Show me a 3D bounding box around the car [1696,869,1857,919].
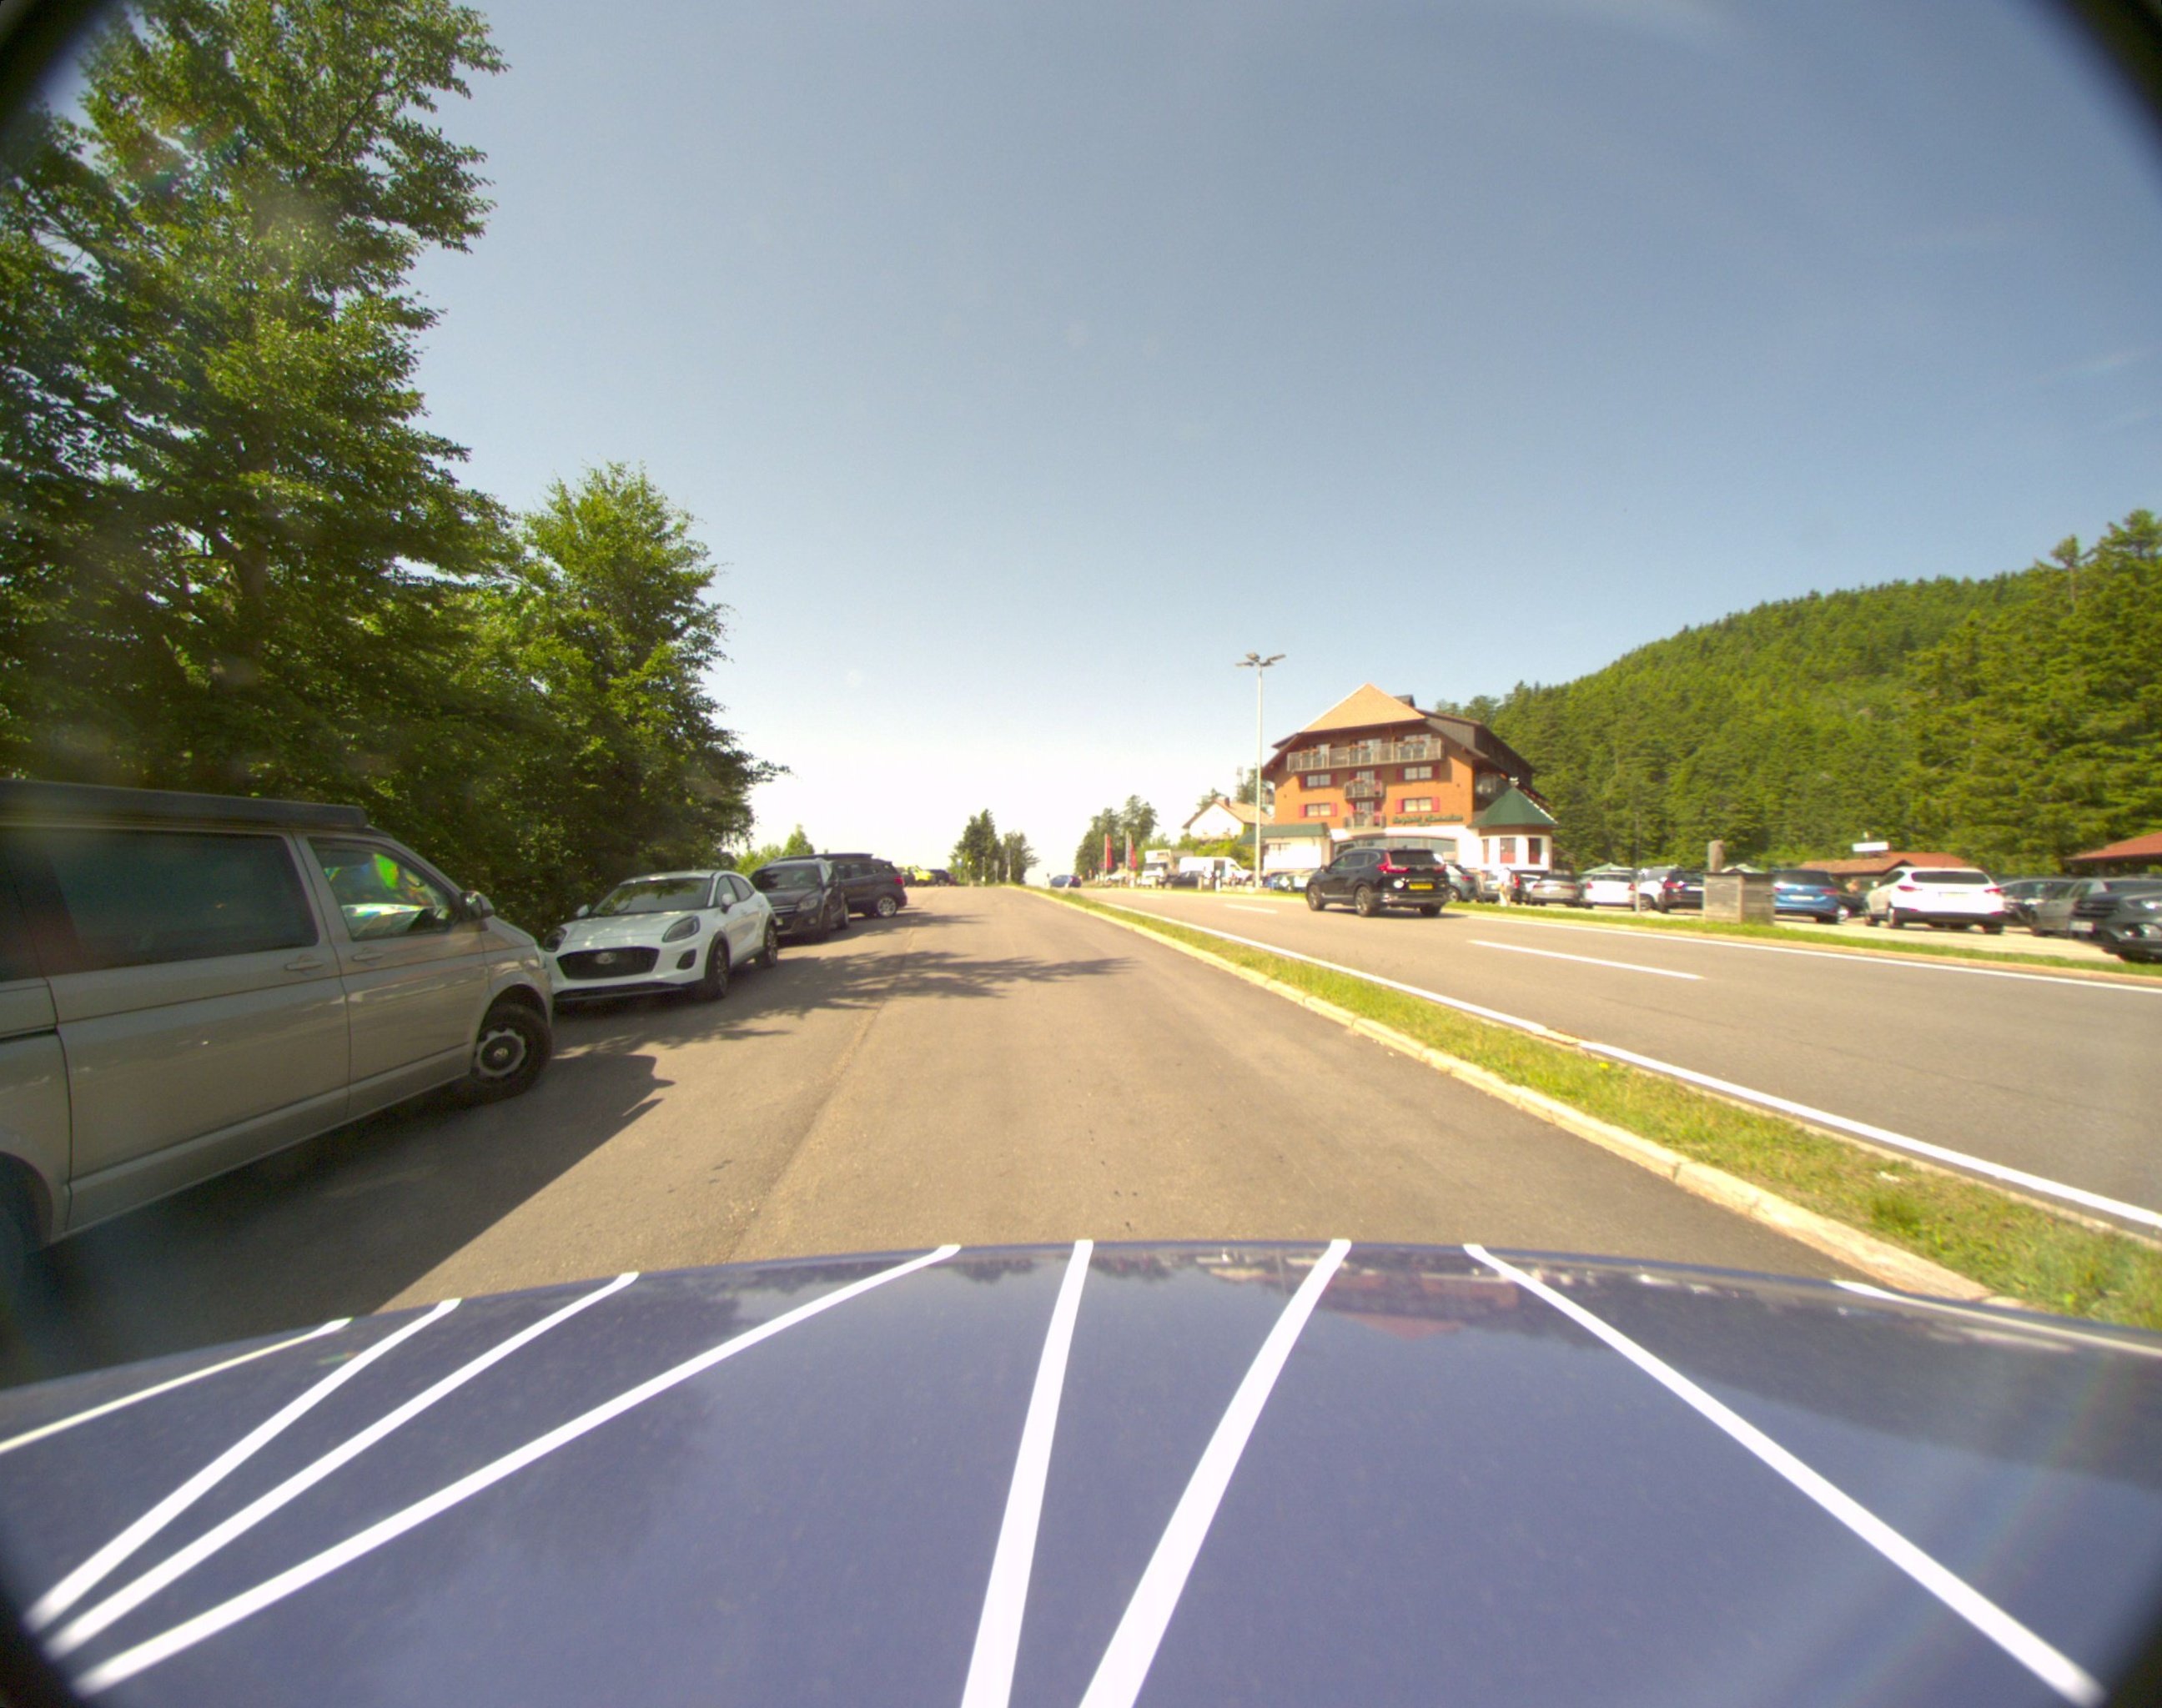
[{"bbox_3d":[25.008,1.381,27.546,4.083,1.619,1.828,0,0,34],"label":"car"}]

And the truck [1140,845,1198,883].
[{"bbox_3d":[9.505,1.111,80.997,2.877,3.798,9.035,-2,-1,29],"label":"truck"}]

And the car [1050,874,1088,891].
[{"bbox_3d":[-1.277,2.952,78.959,1.880,1.605,3.902,0,0,-39],"label":"car"}]

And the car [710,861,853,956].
[{"bbox_3d":[-6.068,1.006,15.893,1.876,1.609,3.997,-3,0,-9],"label":"car"}]

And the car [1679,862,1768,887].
[{"bbox_3d":[46.806,1.458,55.495,4.832,1.705,1.925,0,0,35],"label":"car"}]

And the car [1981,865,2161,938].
[{"bbox_3d":[25.763,1.142,18.843,4.083,1.705,1.925,0,0,35],"label":"car"}]

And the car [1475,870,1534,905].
[{"bbox_3d":[19.634,1.498,35.112,1.819,1.504,4.104,1,0,37],"label":"car"}]

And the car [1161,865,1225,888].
[{"bbox_3d":[7.988,1.577,54.248,4.083,1.518,1.828,0,0,30],"label":"car"}]

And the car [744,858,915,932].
[{"bbox_3d":[-6.717,1.032,20.315,4.005,1.609,1.872,-3,0,-28],"label":"car"}]

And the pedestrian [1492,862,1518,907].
[{"bbox_3d":[15.673,1.112,28.095,0.744,1.615,0.684,0,0,21],"label":"pedestrian"}]

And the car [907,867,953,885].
[{"bbox_3d":[-13.777,1.985,69.492,3.912,1.605,1.875,0,0,-6],"label":"car"}]

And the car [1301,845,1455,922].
[{"bbox_3d":[7.160,0.661,18.809,1.722,1.672,4.127,0,0,-8],"label":"car"}]

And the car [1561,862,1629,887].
[{"bbox_3d":[37.711,1.499,55.811,4.083,1.705,1.925,0,0,35],"label":"car"}]

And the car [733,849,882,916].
[{"bbox_3d":[-9.298,0.919,25.871,4.466,1.914,1.872,-3,0,-28],"label":"car"}]

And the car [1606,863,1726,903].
[{"bbox_3d":[25.759,1.227,33.663,4.083,1.619,1.828,0,0,34],"label":"car"}]

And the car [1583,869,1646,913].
[{"bbox_3d":[20.400,1.353,28.979,1.819,1.504,4.104,1,0,37],"label":"car"}]

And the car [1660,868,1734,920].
[{"bbox_3d":[21.068,1.300,26.134,1.819,1.619,4.104,1,0,37],"label":"car"}]

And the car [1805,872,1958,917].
[{"bbox_3d":[33.550,1.640,32.016,4.083,1.705,1.924,0,0,32],"label":"car"}]

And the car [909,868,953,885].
[{"bbox_3d":[-14.167,2.108,72.071,3.912,1.605,1.875,0,0,-6],"label":"car"}]

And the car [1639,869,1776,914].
[{"bbox_3d":[25.125,1.451,30.675,4.083,1.619,1.828,0,0,34],"label":"car"}]

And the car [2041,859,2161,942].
[{"bbox_3d":[23.513,0.977,15.749,4.083,1.705,1.925,0,0,35],"label":"car"}]

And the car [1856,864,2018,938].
[{"bbox_3d":[22.208,1.124,19.926,1.915,1.705,4.104,1,0,35],"label":"car"}]

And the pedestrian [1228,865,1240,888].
[{"bbox_3d":[12.419,1.830,61.746,0.752,1.853,0.672,0,0,-22],"label":"pedestrian"}]

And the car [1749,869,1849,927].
[{"bbox_3d":[22.247,1.288,23.694,1.819,1.619,4.104,1,0,37],"label":"car"}]

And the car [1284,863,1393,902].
[{"bbox_3d":[11.545,1.233,34.150,4.259,1.619,1.828,0,0,34],"label":"car"}]

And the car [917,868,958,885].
[{"bbox_3d":[-14.319,2.258,76.139,3.912,1.605,1.875,0,0,-6],"label":"car"}]

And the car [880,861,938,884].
[{"bbox_3d":[-14.287,1.529,63.303,4.459,1.914,1.875,0,0,-6],"label":"car"}]

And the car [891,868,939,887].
[{"bbox_3d":[-14.509,2.040,66.519,3.912,1.605,1.875,0,0,-6],"label":"car"}]

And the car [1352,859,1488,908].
[{"bbox_3d":[12.344,1.036,27.775,4.259,1.619,1.828,0,0,34],"label":"car"}]

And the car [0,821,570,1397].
[{"bbox_3d":[-4.671,0.909,3.414,1.862,1.924,4.607,-4,0,-5],"label":"car"}]

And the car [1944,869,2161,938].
[{"bbox_3d":[27.237,1.299,20.989,4.083,1.705,1.924,0,0,32],"label":"car"}]

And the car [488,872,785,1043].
[{"bbox_3d":[-5.263,1.079,9.703,1.876,1.538,3.997,-3,0,-9],"label":"car"}]

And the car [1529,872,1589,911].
[{"bbox_3d":[20.447,1.535,32.424,1.819,1.504,4.104,1,0,37],"label":"car"}]

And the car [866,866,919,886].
[{"bbox_3d":[-14.950,1.739,60.463,3.912,1.605,1.875,0,0,-6],"label":"car"}]

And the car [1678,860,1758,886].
[{"bbox_3d":[43.943,1.308,52.519,4.083,1.705,1.925,0,0,35],"label":"car"}]

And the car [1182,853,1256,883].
[{"bbox_3d":[13.480,1.354,74.229,6.954,2.774,2.669,0,0,10],"label":"car"}]

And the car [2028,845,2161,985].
[{"bbox_3d":[14.746,0.742,8.712,4.539,1.646,1.726,0,0,33],"label":"car"}]
